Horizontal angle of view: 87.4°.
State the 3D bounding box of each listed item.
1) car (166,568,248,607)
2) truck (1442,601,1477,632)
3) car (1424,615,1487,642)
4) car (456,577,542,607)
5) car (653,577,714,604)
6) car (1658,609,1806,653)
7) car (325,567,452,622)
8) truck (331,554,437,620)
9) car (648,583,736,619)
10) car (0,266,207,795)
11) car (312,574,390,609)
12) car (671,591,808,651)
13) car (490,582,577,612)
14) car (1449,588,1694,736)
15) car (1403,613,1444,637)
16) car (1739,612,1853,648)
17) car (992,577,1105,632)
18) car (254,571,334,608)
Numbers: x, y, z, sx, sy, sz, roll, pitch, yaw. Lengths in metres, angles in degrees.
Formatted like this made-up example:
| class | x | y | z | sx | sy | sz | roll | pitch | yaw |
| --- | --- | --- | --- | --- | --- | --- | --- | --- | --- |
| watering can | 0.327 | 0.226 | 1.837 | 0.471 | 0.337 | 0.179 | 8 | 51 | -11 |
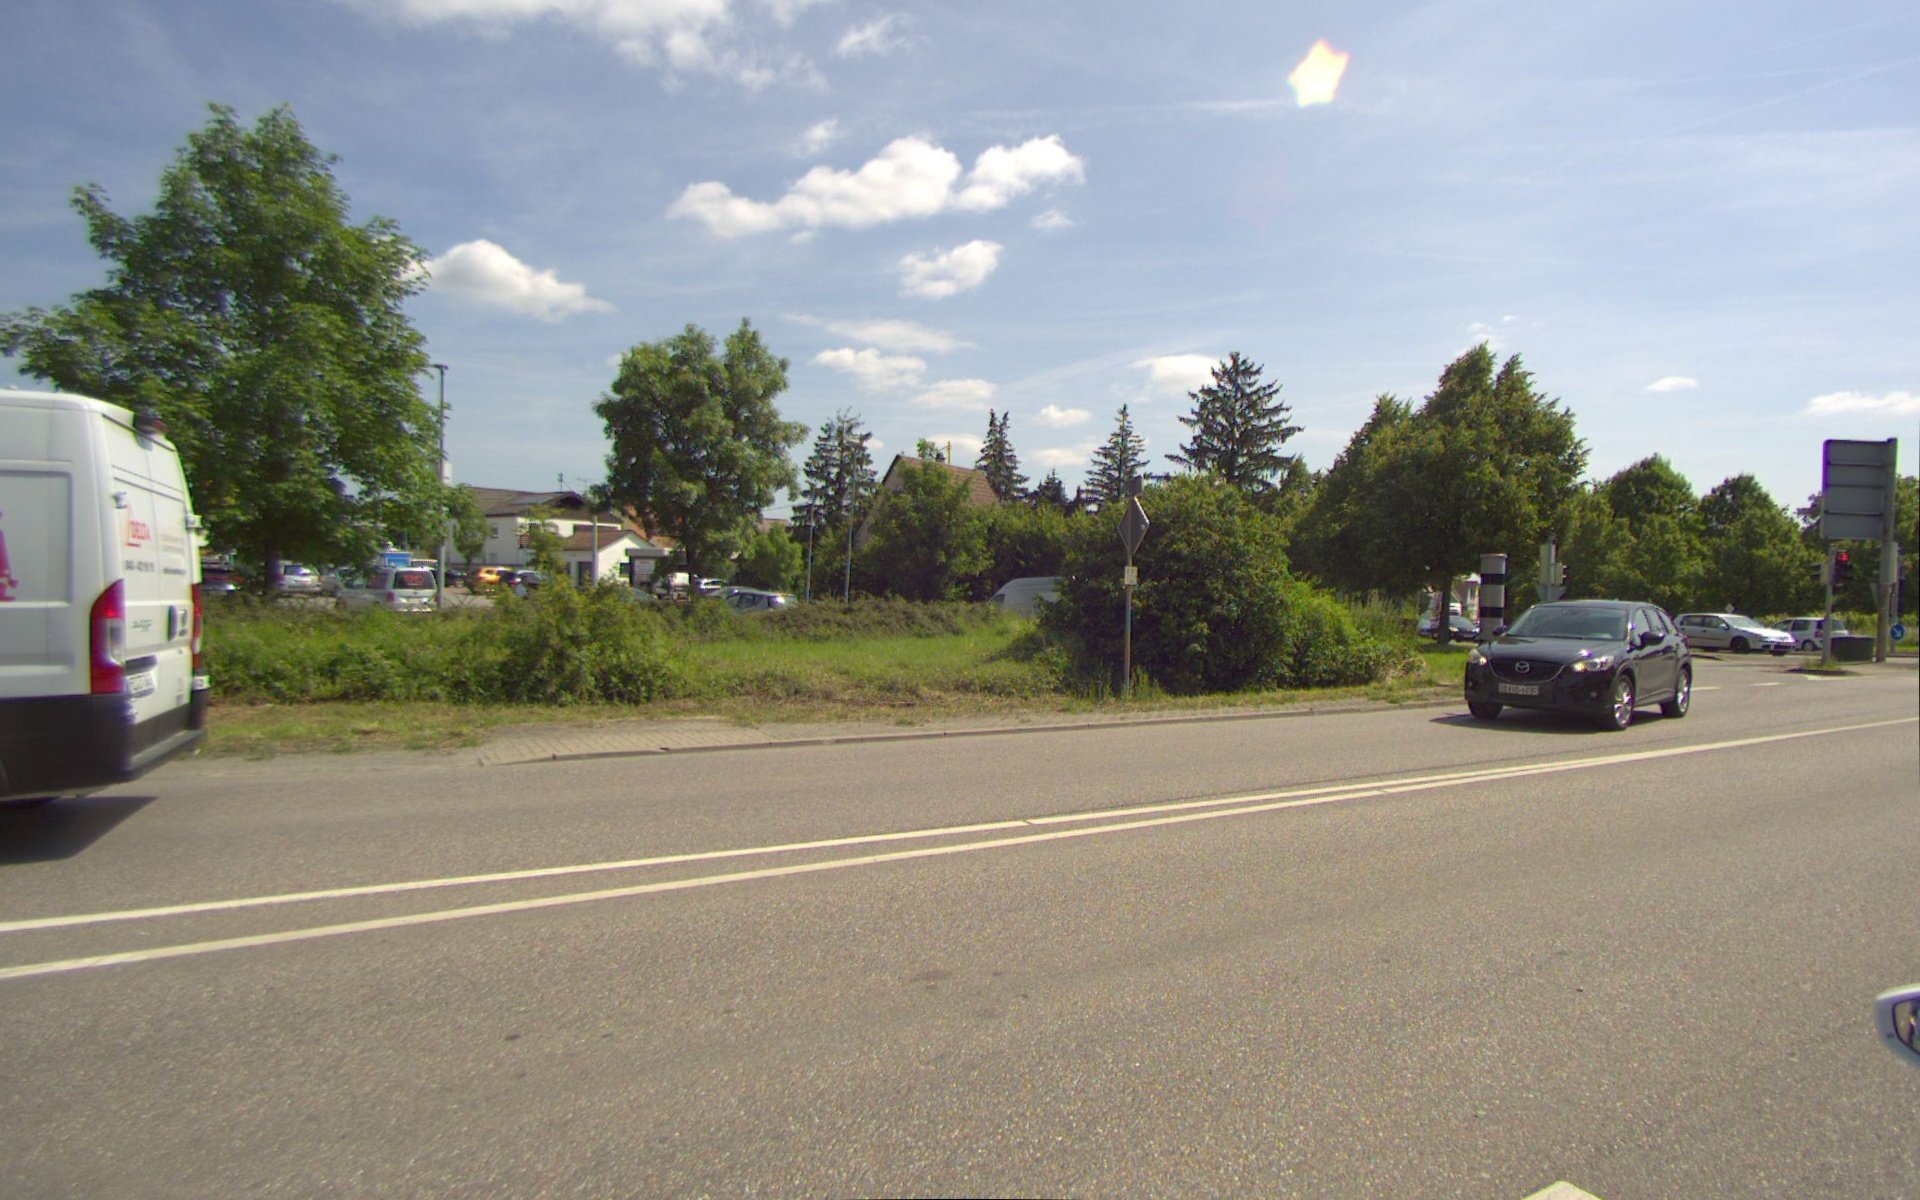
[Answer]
| class | x | y | z | sx | sy | sz | roll | pitch | yaw |
| --- | --- | --- | --- | --- | --- | --- | --- | --- | --- |
| car | -32.401 | -0.556 | 43.165 | 4.193 | 1.562 | 1.871 | 2 | 0 | 40 |
| truck | 64.036 | 2.145 | 128.759 | 2.897 | 3.848 | 7.904 | 2 | 0 | 34 |
| car | 27.019 | 1.515 | 54.904 | 1.706 | 1.322 | 4.283 | 1 | 0 | 6 |
| car | -27.130 | -0.459 | 59.225 | 1.849 | 1.562 | 4.243 | 2 | -1 | 37 |
| car | -20.179 | -0.696 | 73.412 | 1.866 | 1.782 | 3.988 | 2 | 0 | 35 |
| car | 27.787 | 1.073 | 36.306 | 1.764 | 1.436 | 4.037 | 0 | 1 | -13 |
| car | -19.317 | -0.196 | 33.887 | 4.353 | 1.717 | 1.994 | 1 | 0 | 34 |
| truck | -22.341 | -0.513 | 38.917 | 3.932 | 2.397 | 1.994 | 2 | 0 | 34 |
| car | -13.585 | 0.082 | 51.018 | 1.883 | 1.662 | 3.984 | 2 | 0 | 38 |
| car | -7.559 | -0.385 | 4.897 | 5.909 | 2.690 | 2.109 | 1 | 0 | -27 |
| car | -29.012 | -0.405 | 47.819 | 4.193 | 1.562 | 1.871 | 2 | 0 | 40 |
| car | -7.081 | 0.651 | 32.195 | 3.928 | 1.751 | 1.997 | 2 | 0 | 29 |
| car | -24.552 | -0.172 | 57.970 | 1.849 | 1.562 | 4.243 | 2 | -1 | 37 |
| car | 8.685 | 0.753 | 14.129 | 4.079 | 1.773 | 1.849 | 1 | 0 | -42 |
| car | 30.125 | 1.591 | 65.360 | 1.707 | 1.448 | 4.283 | 1 | 0 | 15 |
| car | 36.881 | 1.282 | 44.448 | 1.644 | 1.375 | 3.857 | -1 | 1 | -5 |
| car | 3.836 | 0.157 | 43.800 | 4.524 | 2.209 | 1.992 | 2 | 1 | 37 |
| car | -30.289 | -0.482 | 45.676 | 4.193 | 1.562 | 1.871 | 2 | 0 | 40 |
